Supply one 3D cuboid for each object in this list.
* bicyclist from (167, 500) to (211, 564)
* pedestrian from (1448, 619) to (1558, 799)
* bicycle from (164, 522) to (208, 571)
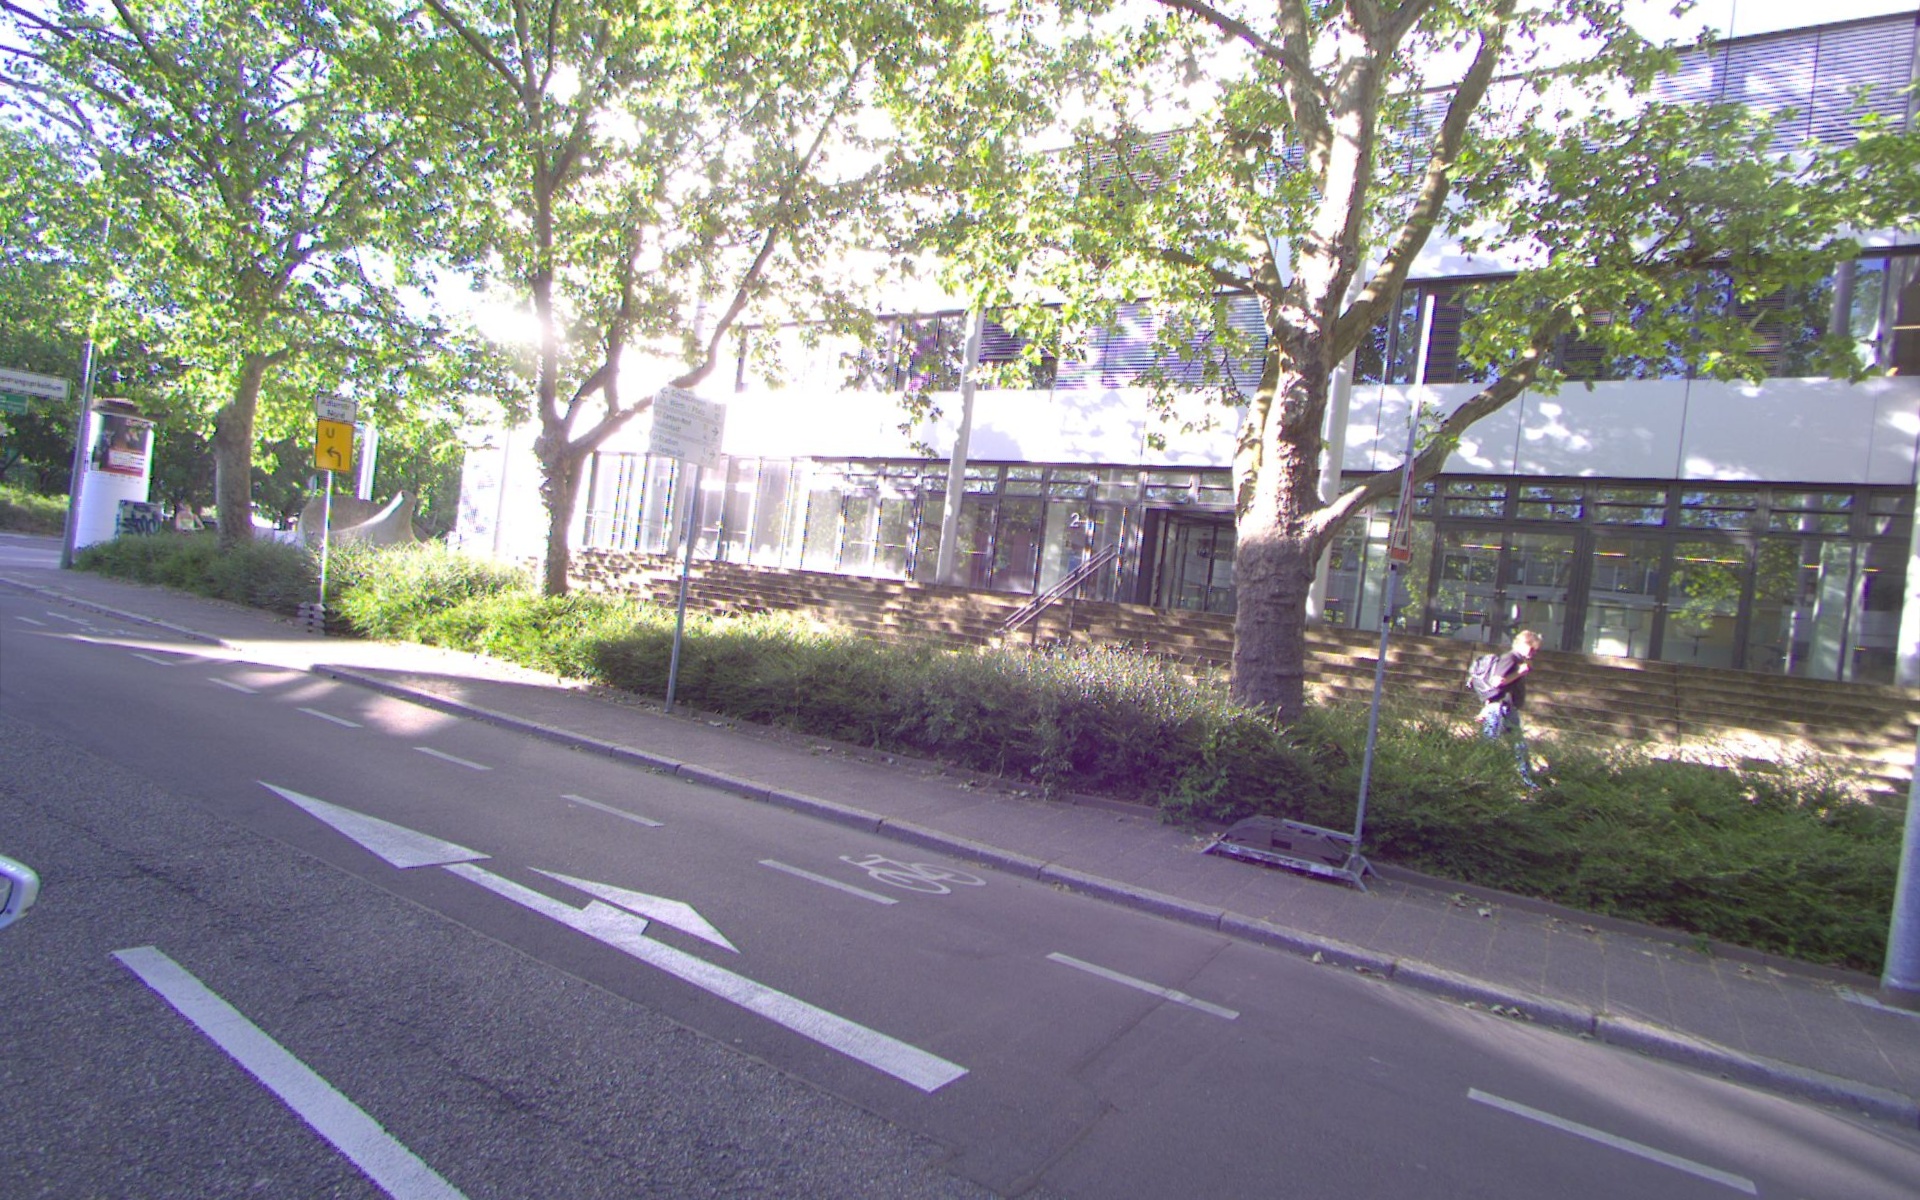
[{"bbox_3d":[-20.687,-1.819,27.017,0.712,1.601,0.927,8,-1,-35],"label":"bicyclist"},{"bbox_3d":[5.978,1.177,11.086,0.848,1.802,0.785,7,0,30],"label":"pedestrian"},{"bbox_3d":[-20.727,-1.431,26.983,0.712,1.186,2.156,8,-2,-35],"label":"bicycle"}]
